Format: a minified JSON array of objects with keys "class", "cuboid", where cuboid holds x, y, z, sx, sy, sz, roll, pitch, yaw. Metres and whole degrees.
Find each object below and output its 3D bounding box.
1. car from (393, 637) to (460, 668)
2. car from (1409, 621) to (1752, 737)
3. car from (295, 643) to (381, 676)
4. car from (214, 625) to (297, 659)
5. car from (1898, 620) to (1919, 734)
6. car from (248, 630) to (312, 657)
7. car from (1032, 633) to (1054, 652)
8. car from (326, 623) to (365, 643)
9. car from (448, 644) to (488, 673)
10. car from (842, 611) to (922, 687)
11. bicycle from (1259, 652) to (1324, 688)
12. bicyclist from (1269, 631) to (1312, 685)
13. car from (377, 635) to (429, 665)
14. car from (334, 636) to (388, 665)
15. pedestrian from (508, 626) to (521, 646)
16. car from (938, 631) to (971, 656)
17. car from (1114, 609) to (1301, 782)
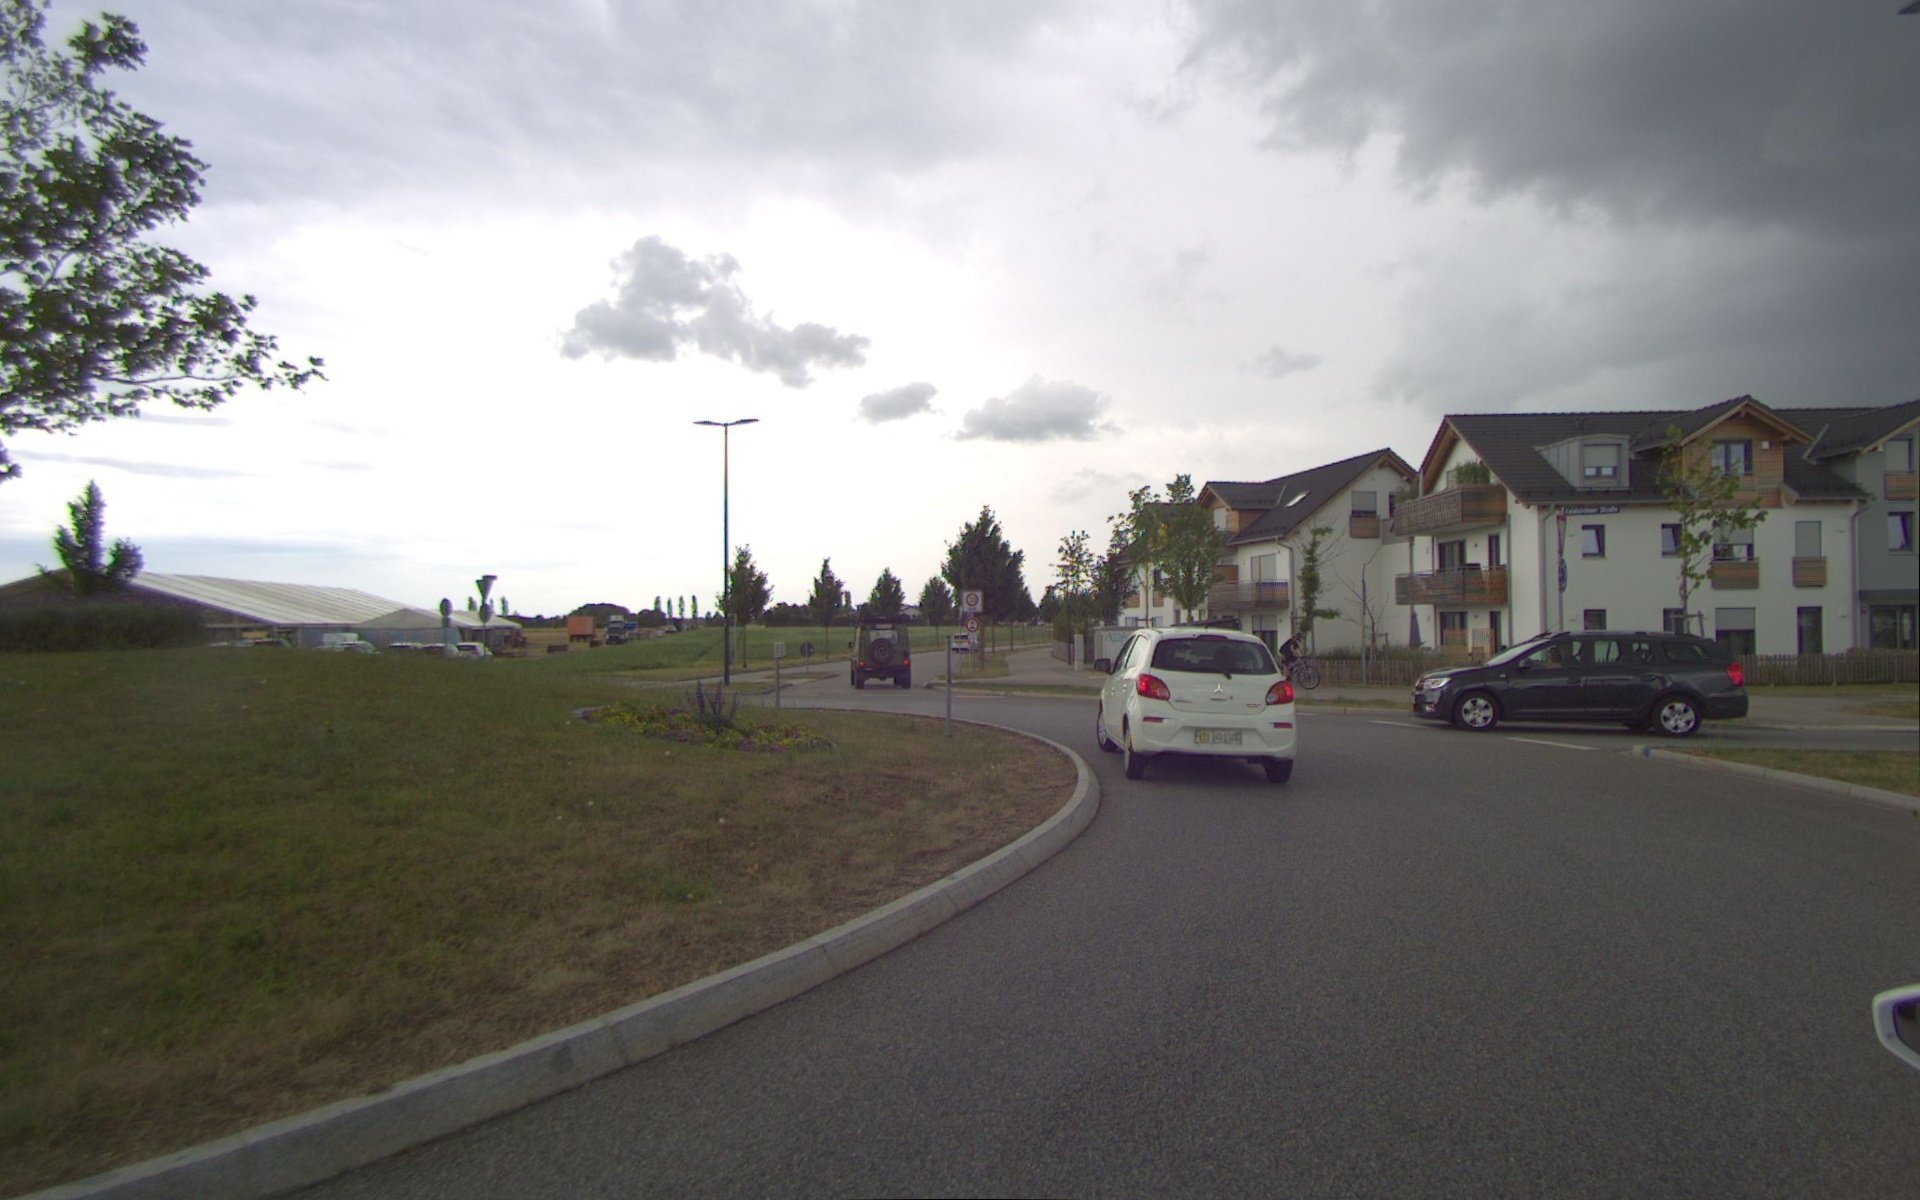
[{"class":"car","cuboid":[-29.111,2.829,54.784,3.812,1.628,1.631,-1,-1,35]},{"class":"car","cuboid":[9.386,1.163,15.590,4.193,1.584,1.775,0,-2,15]},{"class":"car","cuboid":[-31.742,3.023,51.279,3.799,1.628,1.735,-1,-1,18]},{"class":"car","cuboid":[-31.862,1.869,45.390,3.936,1.461,1.945,-1,-1,37]},{"class":"car","cuboid":[15.916,1.055,13.739,4.361,1.647,1.715,-1,-2,4]},{"class":"car","cuboid":[-39.765,2.534,58.839,1.919,1.461,3.987,1,-1,-16]},{"class":"car","cuboid":[7.468,3.815,89.989,1.729,1.579,4.002,0,-1,8]},{"class":"car","cuboid":[-52.959,2.850,86.638,1.804,1.628,3.819,0,-1,-14]},{"class":"car","cuboid":[-30.057,3.557,61.447,1.705,1.574,3.983,0,-1,-19]},{"class":"car","cuboid":[-2.614,1.529,32.687,1.965,2.283,4.560,1,-1,-12]},{"class":"bicycle","cuboid":[9.171,1.925,27.823,0.494,0.958,1.692,2,-3,-43]},{"class":"bicyclist","cuboid":[9.163,1.603,27.833,0.719,1.465,0.859,1,-3,-42]},{"class":"car","cuboid":[-33.137,2.949,59.884,1.804,1.628,3.818,0,-1,-15]},{"class":"car","cuboid":[-35.581,2.972,59.763,1.804,1.628,3.818,0,-1,-15]},{"class":"pedestrian","cuboid":[-47.871,3.865,107.894,1.033,2.040,1.059,0,-1,-11]},{"class":"car","cuboid":[-0.354,3.125,72.072,1.821,1.661,4.003,0,-1,8]},{"class":"car","cuboid":[2.516,0.938,10.879,1.600,1.539,3.402,1,-2,8]}]
